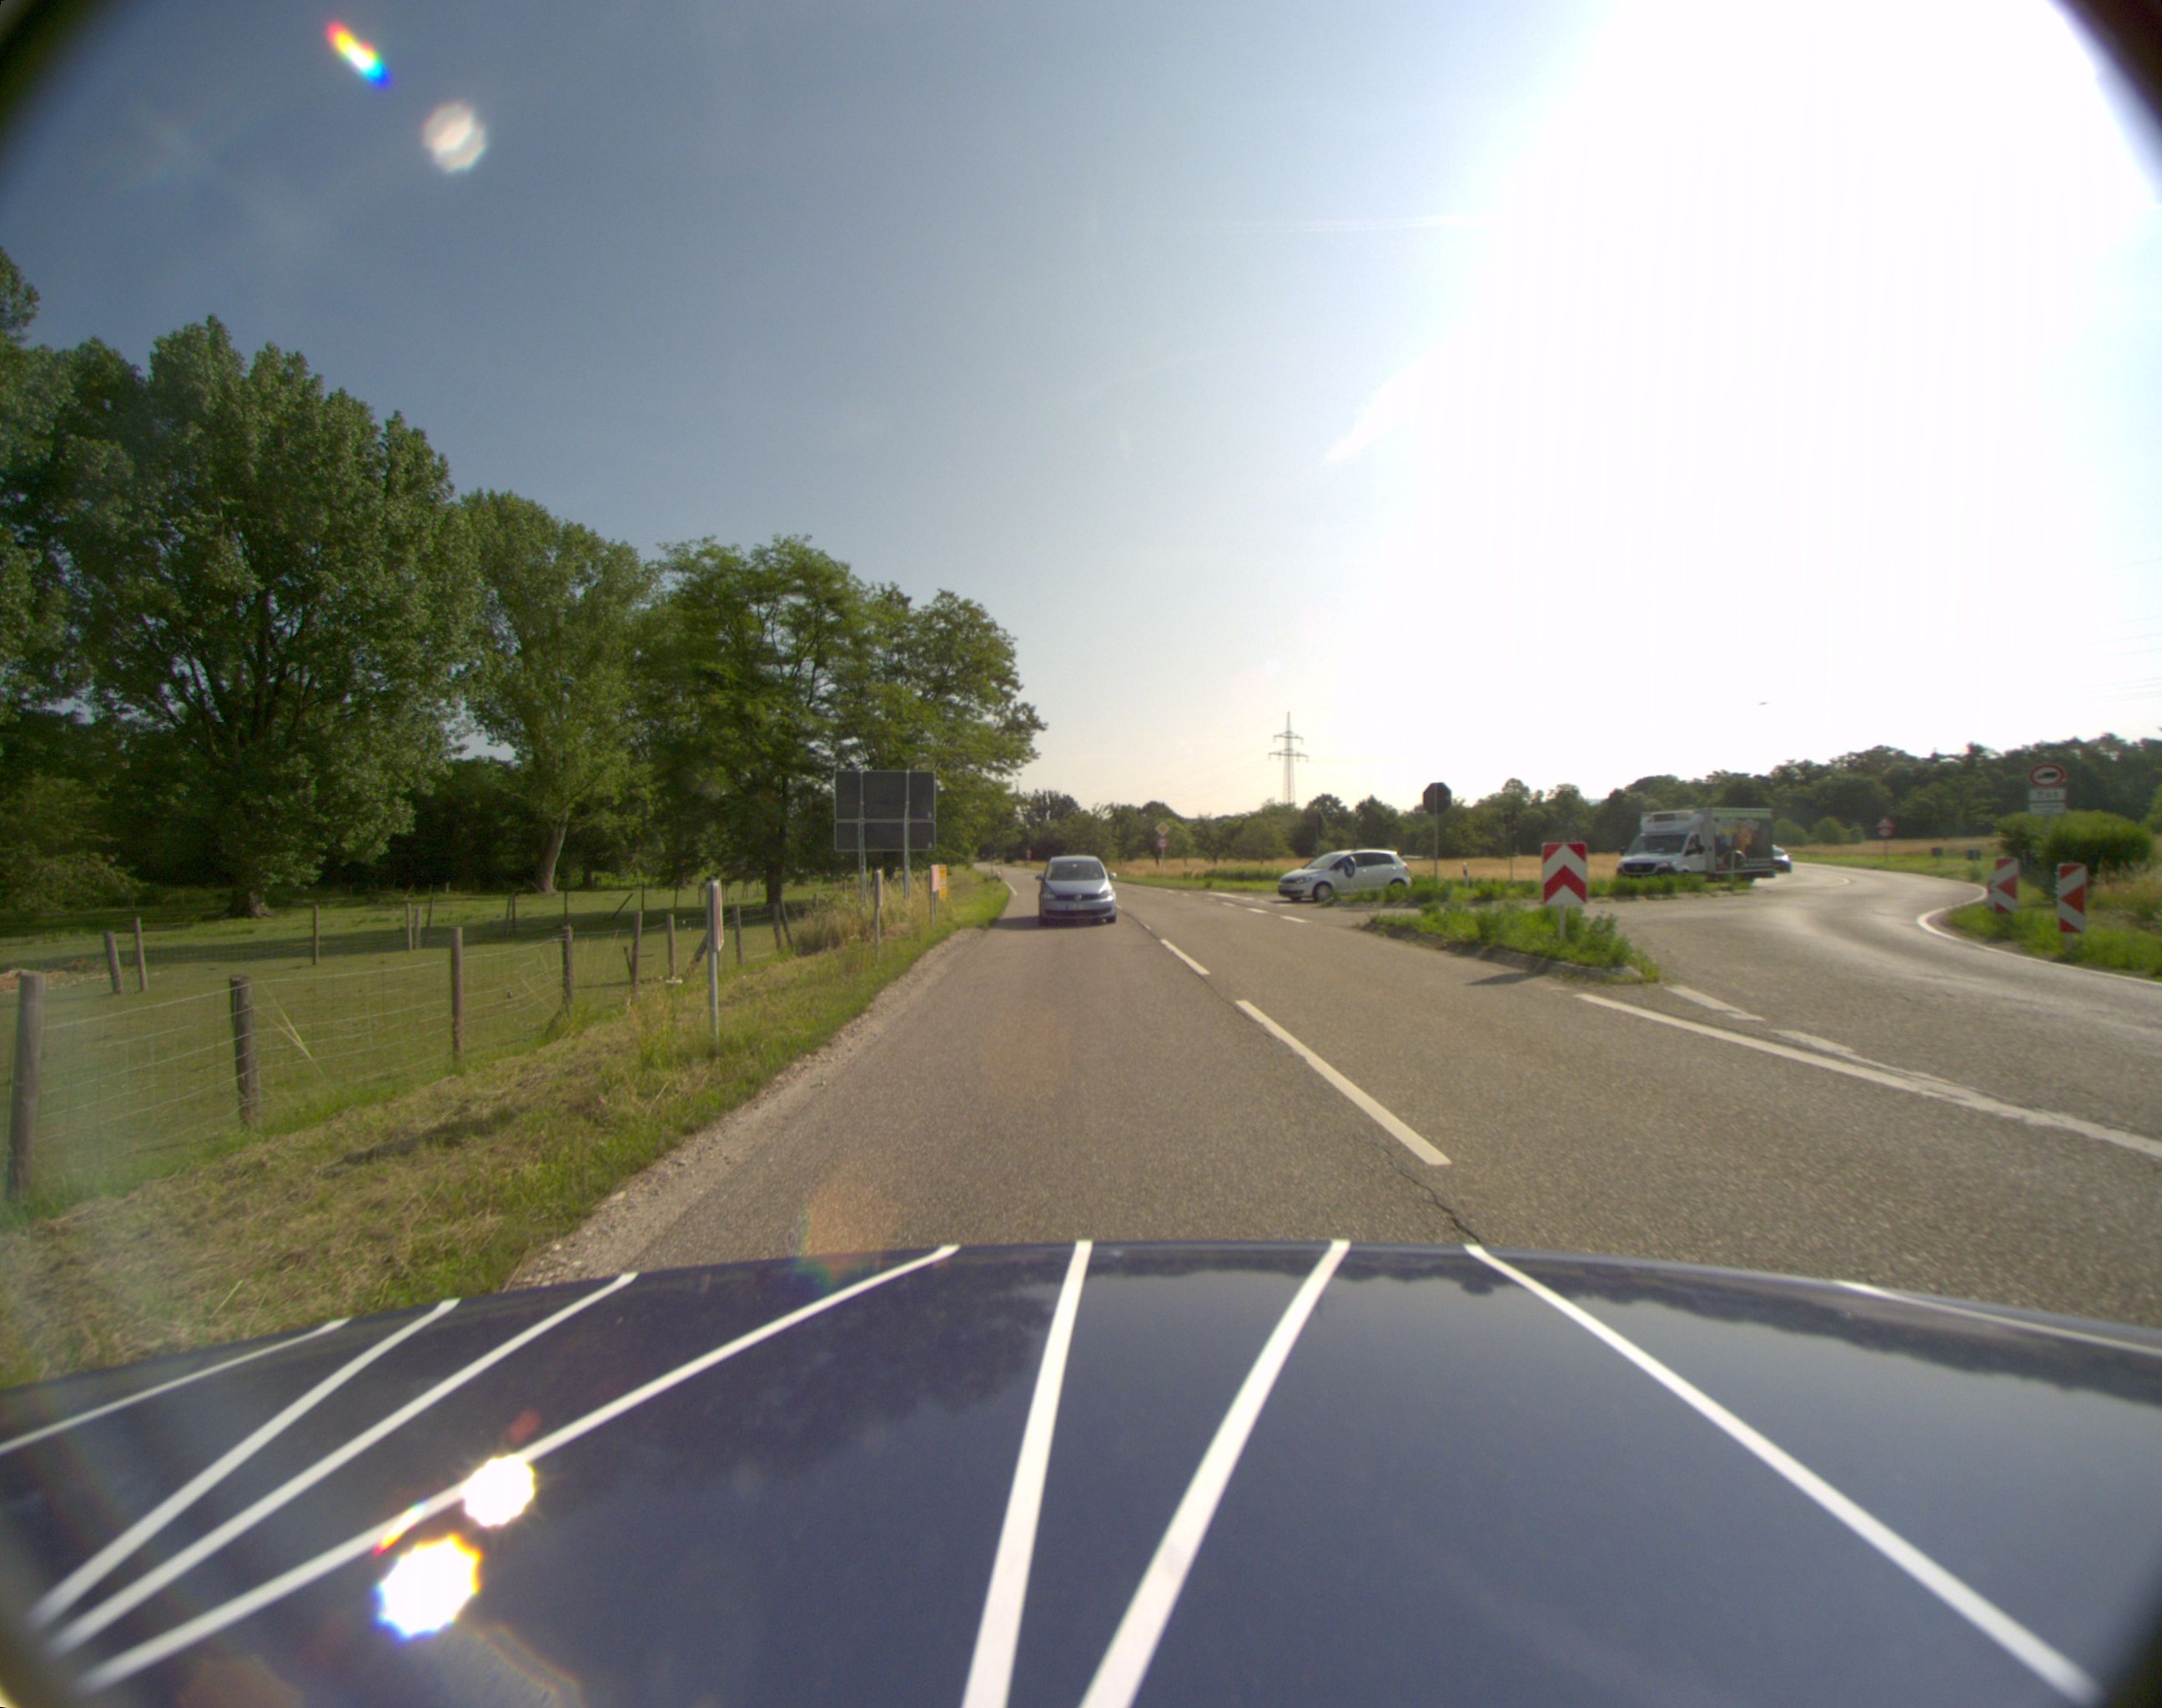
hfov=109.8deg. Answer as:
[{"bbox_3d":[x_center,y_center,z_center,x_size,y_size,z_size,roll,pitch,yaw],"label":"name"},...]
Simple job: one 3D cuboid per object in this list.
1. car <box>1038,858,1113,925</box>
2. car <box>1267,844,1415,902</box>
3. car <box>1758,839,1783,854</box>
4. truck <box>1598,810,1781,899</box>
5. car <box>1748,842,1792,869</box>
[{"bbox_3d":[-0.111,0.887,19.957,1.718,1.495,4.094,-2,0,0],"label":"car"},{"bbox_3d":[8.138,0.563,23.926,3.910,1.570,1.998,-2,0,-12],"label":"car"},{"bbox_3d":[74.865,-0.829,82.518,1.813,1.543,4.008,-2,0,40],"label":"car"},{"bbox_3d":[23.106,-0.046,28.746,7.375,3.027,2.579,-2,0,-27],"label":"truck"},{"bbox_3d":[43.341,0.104,47.856,1.813,1.543,4.008,-2,0,39],"label":"car"}]
